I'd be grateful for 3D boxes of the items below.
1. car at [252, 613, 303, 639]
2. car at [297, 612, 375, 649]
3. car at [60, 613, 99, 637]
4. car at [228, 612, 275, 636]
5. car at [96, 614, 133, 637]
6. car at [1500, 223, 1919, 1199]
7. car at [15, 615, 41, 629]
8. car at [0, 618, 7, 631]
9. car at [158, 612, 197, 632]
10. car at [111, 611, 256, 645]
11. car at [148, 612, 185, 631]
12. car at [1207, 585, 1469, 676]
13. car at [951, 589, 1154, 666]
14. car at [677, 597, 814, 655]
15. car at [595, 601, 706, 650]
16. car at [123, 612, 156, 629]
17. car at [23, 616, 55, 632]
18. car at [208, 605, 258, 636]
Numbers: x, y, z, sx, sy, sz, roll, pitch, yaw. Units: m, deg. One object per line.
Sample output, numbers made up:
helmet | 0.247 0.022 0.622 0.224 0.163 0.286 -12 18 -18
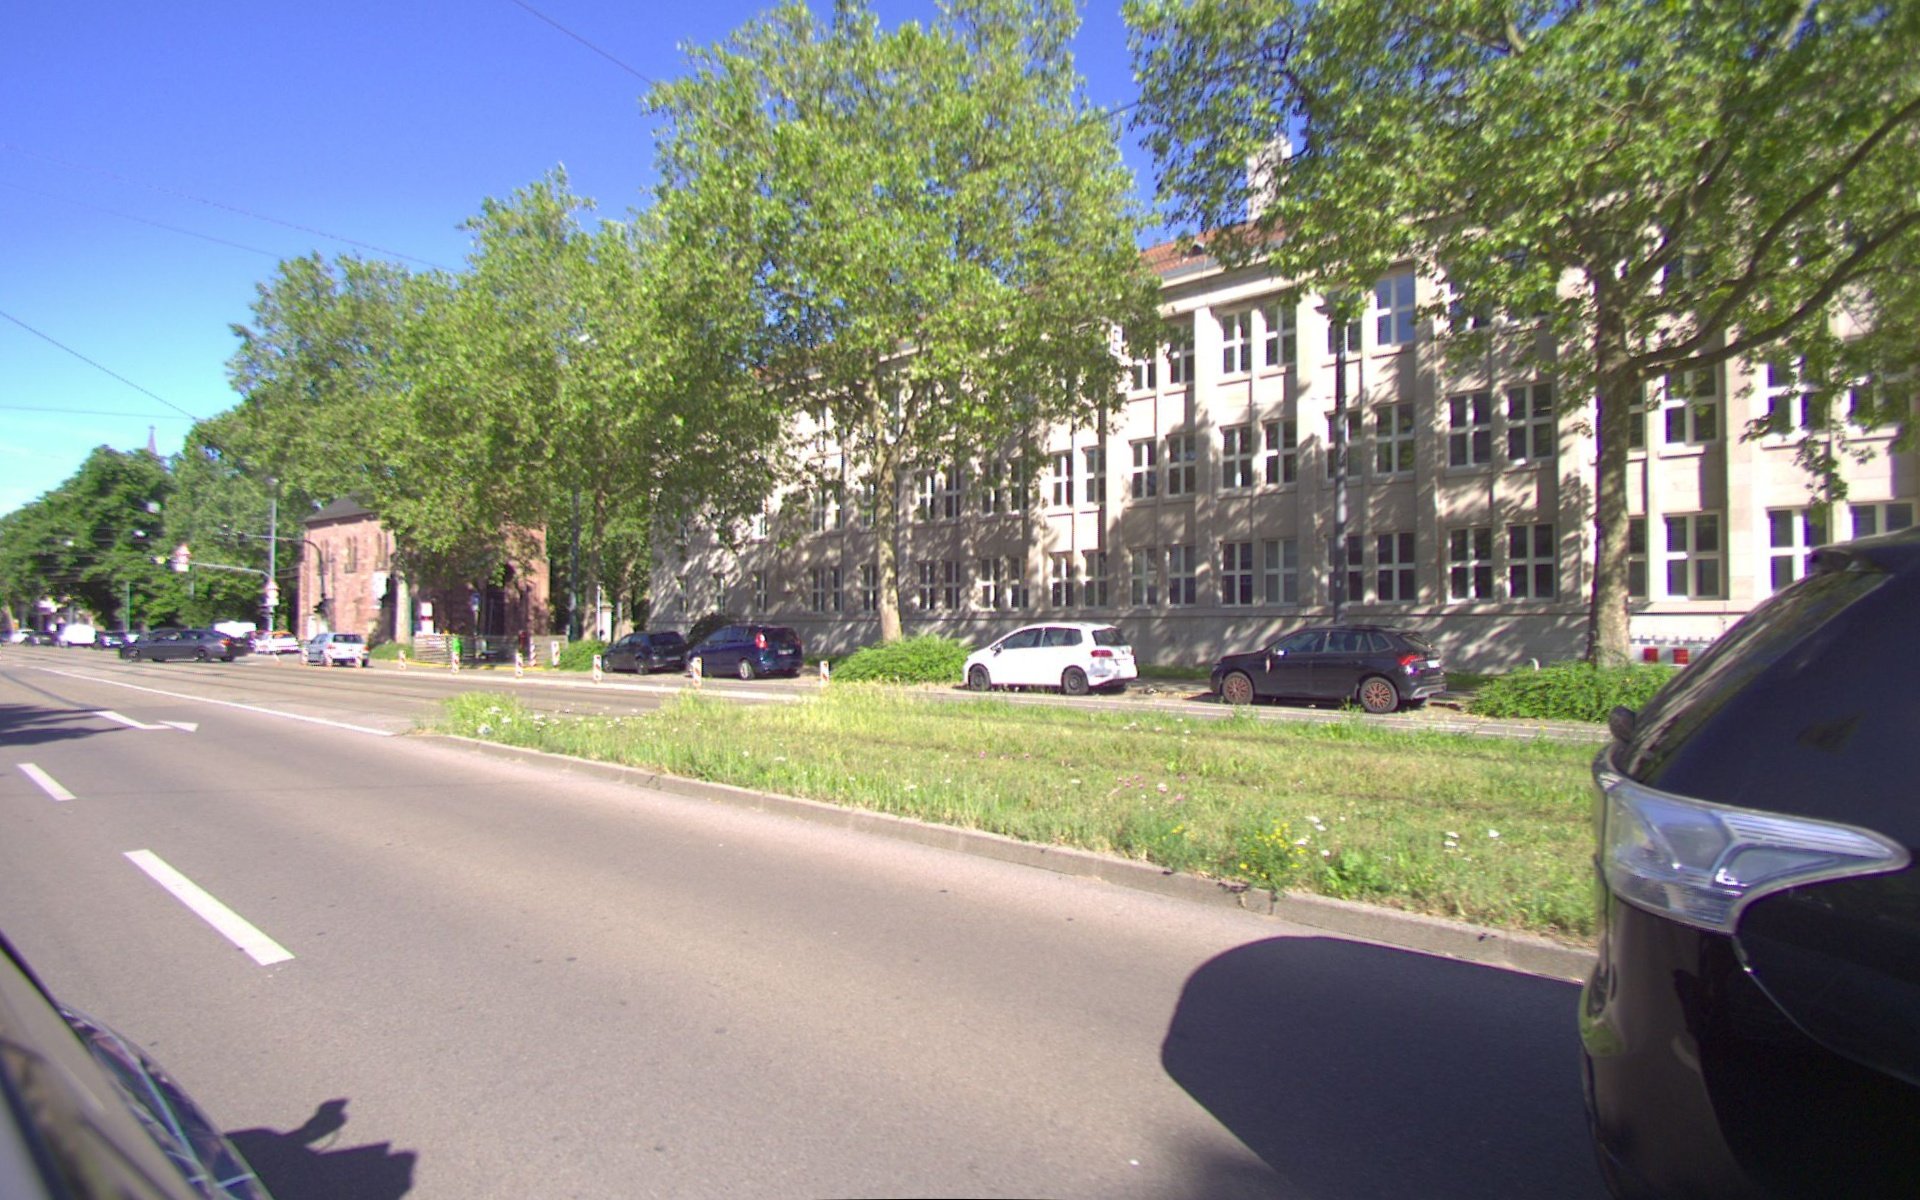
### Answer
car | -43.889 1.668 65.043 3.674 1.586 1.757 -3 -3 40
car | -26.168 1.274 42.385 4.172 1.464 1.809 -1 -2 44
car | -73.304 2.089 84.220 4.518 1.906 2.038 -1 -3 44
car | -47.950 1.615 68.434 3.858 1.563 1.772 -1 -1 42
car | -62.229 1.888 74.473 1.597 1.422 4.091 10 -8 -44
car | 3.247 0.314 0.845 4.642 1.695 1.816 0 0 42
car | -106.015 2.510 115.073 4.306 1.563 1.771 -1 -1 42
car | -115.214 2.948 120.860 4.306 1.563 1.771 -1 -1 42
car | -63.702 1.761 82.389 4.306 1.563 1.771 -1 -1 42
car | -34.265 1.230 44.738 4.887 1.464 1.837 0 -1 -3
car | -67.162 1.793 85.623 4.306 1.563 1.771 -1 -1 42
car | 6.902 0.562 18.758 4.181 1.504 1.810 -2 -2 43
car | 2.050 0.617 23.172 4.392 1.600 1.811 -1 -2 40
car | -6.622 0.790 30.989 4.392 1.651 1.811 -1 -2 40
car | -10.708 0.891 34.850 4.186 1.559 1.655 -2 -2 40
car | -75.865 1.907 93.524 4.306 1.563 1.771 -1 -1 42
car | -86.003 2.272 94.516 4.375 1.440 1.774 -1 -1 42
car | -51.624 1.446 71.838 4.589 2.112 1.896 -1 -1 41
